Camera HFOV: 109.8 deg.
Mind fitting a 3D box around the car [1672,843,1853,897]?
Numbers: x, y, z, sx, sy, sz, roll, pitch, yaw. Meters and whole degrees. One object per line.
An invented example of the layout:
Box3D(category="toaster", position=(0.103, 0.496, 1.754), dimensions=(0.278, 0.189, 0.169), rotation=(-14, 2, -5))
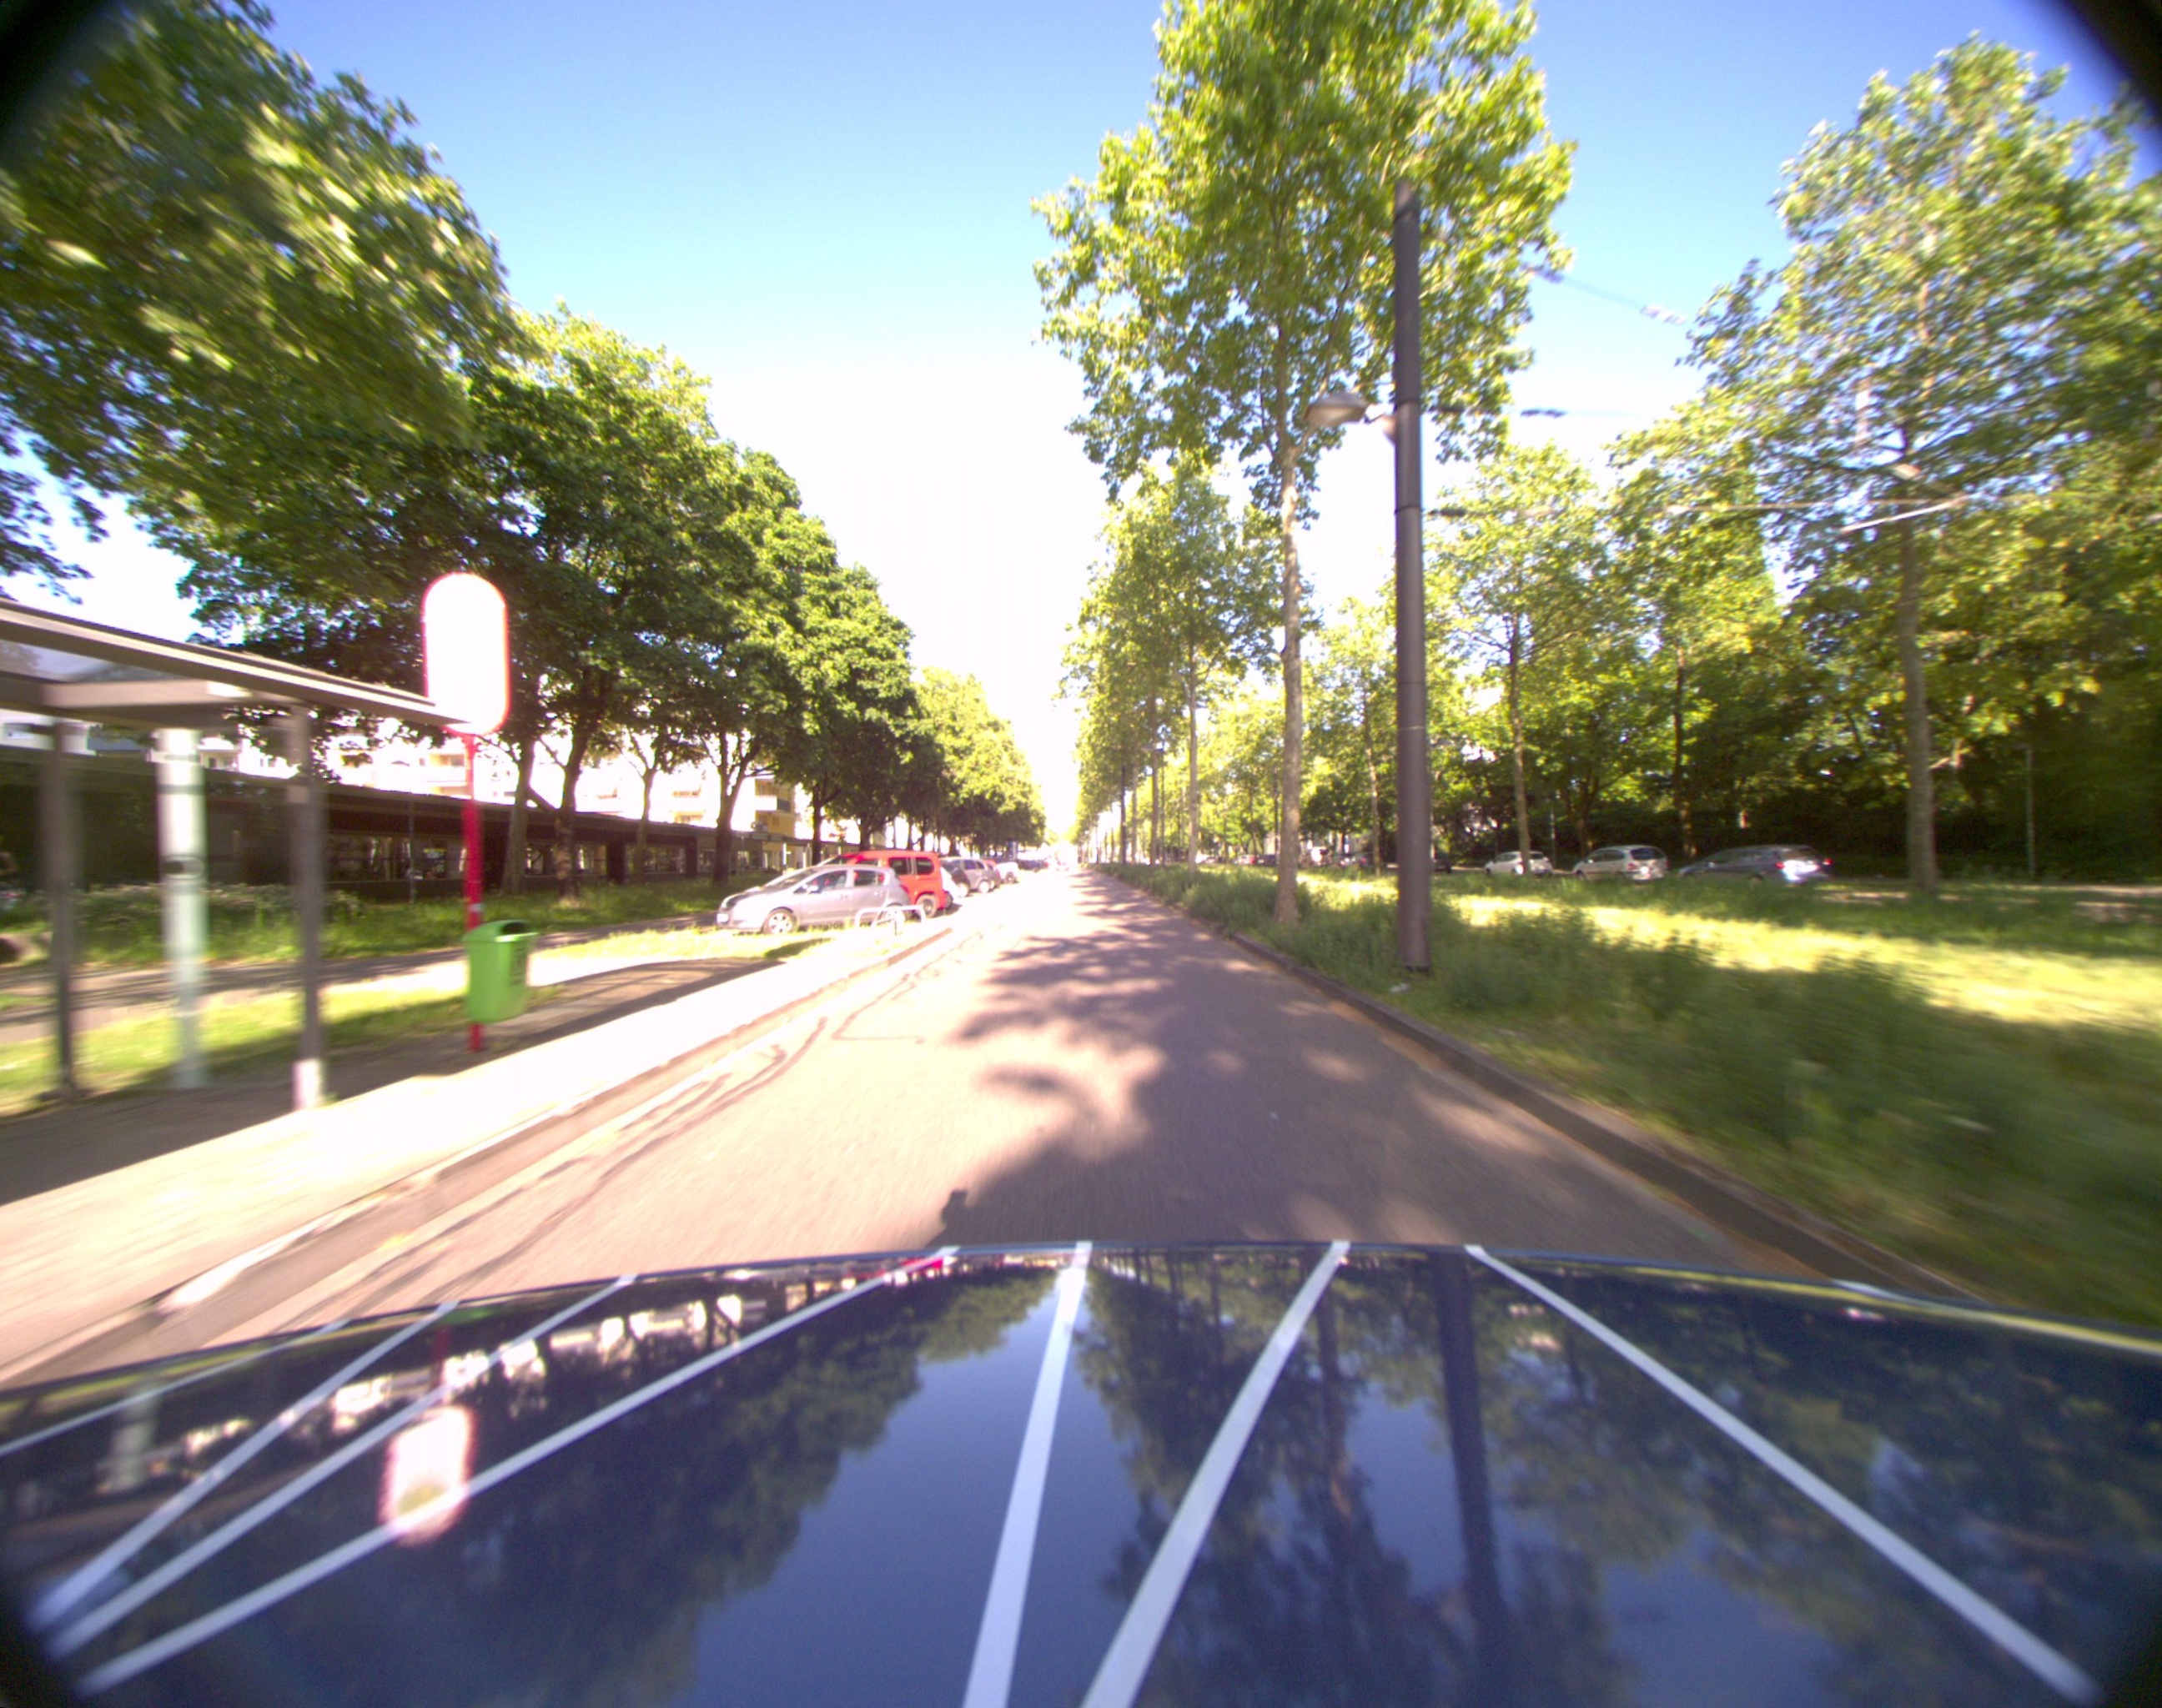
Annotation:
Box3D(category="car", position=(22.641, 0.461, 25.555), dimensions=(1.902, 1.480, 4.627), rotation=(-5, 1, 1))

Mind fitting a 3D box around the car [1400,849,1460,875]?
Box3D(category="car", position=(22.631, 0.477, 49.468), dimensions=(1.843, 1.480, 4.178), rotation=(-5, 0, -1))

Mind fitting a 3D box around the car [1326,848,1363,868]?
Box3D(category="car", position=(22.518, 0.331, 65.027), dimensions=(1.754, 1.487, 3.817), rotation=(-4, 1, 0))

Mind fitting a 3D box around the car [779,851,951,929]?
Box3D(category="car", position=(-5.550, 0.846, 19.839), dimensions=(3.960, 1.832, 1.763), rotation=(0, 1, -44))

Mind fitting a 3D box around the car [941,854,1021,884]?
Box3D(category="car", position=(-5.836, 0.849, 44.516), dimensions=(4.311, 1.666, 1.862), rotation=(-1, 0, -41))

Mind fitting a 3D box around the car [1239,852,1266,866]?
Box3D(category="car", position=(22.992, 0.688, 101.671), dimensions=(1.895, 1.699, 4.508), rotation=(-2, 1, 36))

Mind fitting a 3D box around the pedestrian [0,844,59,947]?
Box3D(category="pedestrian", position=(-19.619, 0.737, 13.715), dimensions=(0.967, 1.830, 0.952), rotation=(-1, 1, -8))

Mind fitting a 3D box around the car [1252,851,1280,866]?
Box3D(category="car", position=(24.266, 0.604, 99.406), dimensions=(1.895, 1.699, 4.508), rotation=(-2, 1, 36))

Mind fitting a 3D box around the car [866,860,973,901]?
Box3D(category="car", position=(-6.198, 0.973, 29.405), dimensions=(1.677, 1.450, 3.753), rotation=(1, 1, 44))

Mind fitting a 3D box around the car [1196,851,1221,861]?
Box3D(category="car", position=(22.657, 0.361, 134.704), dimensions=(4.006, 1.699, 1.837), rotation=(-3, 1, -31))

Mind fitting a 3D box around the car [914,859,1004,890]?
Box3D(category="car", position=(-5.871, 0.961, 36.875), dimensions=(1.681, 1.395, 4.096), rotation=(1, 0, 44))

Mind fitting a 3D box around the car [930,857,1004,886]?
Box3D(category="car", position=(-6.061, 0.919, 40.631), dimensions=(3.583, 1.412, 1.706), rotation=(1, 1, -42))

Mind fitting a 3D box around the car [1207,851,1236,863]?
Box3D(category="car", position=(23.168, 0.449, 125.059), dimensions=(4.506, 1.699, 1.895), rotation=(-3, 1, -31))

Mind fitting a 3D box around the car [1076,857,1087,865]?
Box3D(category="car", position=(0.126, 1.376, 154.679), dimensions=(1.897, 1.623, 4.502), rotation=(-2, 0, 4))

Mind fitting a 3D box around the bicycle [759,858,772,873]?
Box3D(category="bicycle", position=(-28.234, 0.991, 68.029), dimensions=(0.506, 1.299, 1.660), rotation=(-3, 1, -2))

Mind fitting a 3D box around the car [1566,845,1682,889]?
Box3D(category="car", position=(22.650, 0.493, 31.921), dimensions=(1.820, 1.587, 4.189), rotation=(-4, 1, 1))

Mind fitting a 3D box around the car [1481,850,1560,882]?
Box3D(category="car", position=(22.567, 0.564, 39.180), dimensions=(1.723, 1.410, 4.023), rotation=(-5, 0, 1))

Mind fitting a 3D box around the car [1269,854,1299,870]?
Box3D(category="car", position=(23.159, 0.891, 86.544), dimensions=(1.884, 1.558, 4.007), rotation=(-2, 1, 36))

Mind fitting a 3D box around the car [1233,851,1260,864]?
Box3D(category="car", position=(23.221, 0.484, 106.418), dimensions=(1.895, 1.699, 4.508), rotation=(-2, 1, 36))

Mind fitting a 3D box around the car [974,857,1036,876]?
Box3D(category="car", position=(-6.008, 0.951, 60.258), dimensions=(1.994, 1.417, 4.687), rotation=(1, 0, 44))

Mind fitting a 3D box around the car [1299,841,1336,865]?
Box3D(category="car", position=(22.369, -0.151, 71.954), dimensions=(1.987, 2.045, 4.277), rotation=(-5, 1, 0))

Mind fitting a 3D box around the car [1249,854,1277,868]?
Box3D(category="car", position=(22.358, 0.849, 93.196), dimensions=(1.884, 1.558, 4.007), rotation=(-2, 1, 36))

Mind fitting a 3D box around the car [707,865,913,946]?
Box3D(category="car", position=(-5.652, 0.991, 16.138), dimensions=(3.837, 1.464, 1.514), rotation=(0, 1, -43))

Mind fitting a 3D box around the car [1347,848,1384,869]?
Box3D(category="car", position=(22.343, 0.314, 59.806), dimensions=(1.545, 1.480, 3.569), rotation=(-5, 0, 0))

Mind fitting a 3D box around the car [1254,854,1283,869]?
Box3D(category="car", position=(22.089, 0.905, 89.320), dimensions=(1.884, 1.558, 4.007), rotation=(-2, 1, 36))

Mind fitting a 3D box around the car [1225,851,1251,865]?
Box3D(category="car", position=(22.731, 0.569, 109.814), dimensions=(1.895, 1.699, 4.508), rotation=(-2, 1, 36))

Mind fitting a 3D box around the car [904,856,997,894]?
Box3D(category="car", position=(-5.694, 0.878, 33.316), dimensions=(1.695, 1.581, 3.731), rotation=(1, 0, 43))

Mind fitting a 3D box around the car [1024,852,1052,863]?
Box3D(category="car", position=(-6.950, 0.594, 123.319), dimensions=(1.894, 1.663, 4.510), rotation=(1, 0, 44))

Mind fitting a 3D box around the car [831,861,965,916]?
Box3D(category="car", position=(-5.536, 0.989, 23.198), dimensions=(3.635, 1.486, 1.677), rotation=(0, 1, -43))
